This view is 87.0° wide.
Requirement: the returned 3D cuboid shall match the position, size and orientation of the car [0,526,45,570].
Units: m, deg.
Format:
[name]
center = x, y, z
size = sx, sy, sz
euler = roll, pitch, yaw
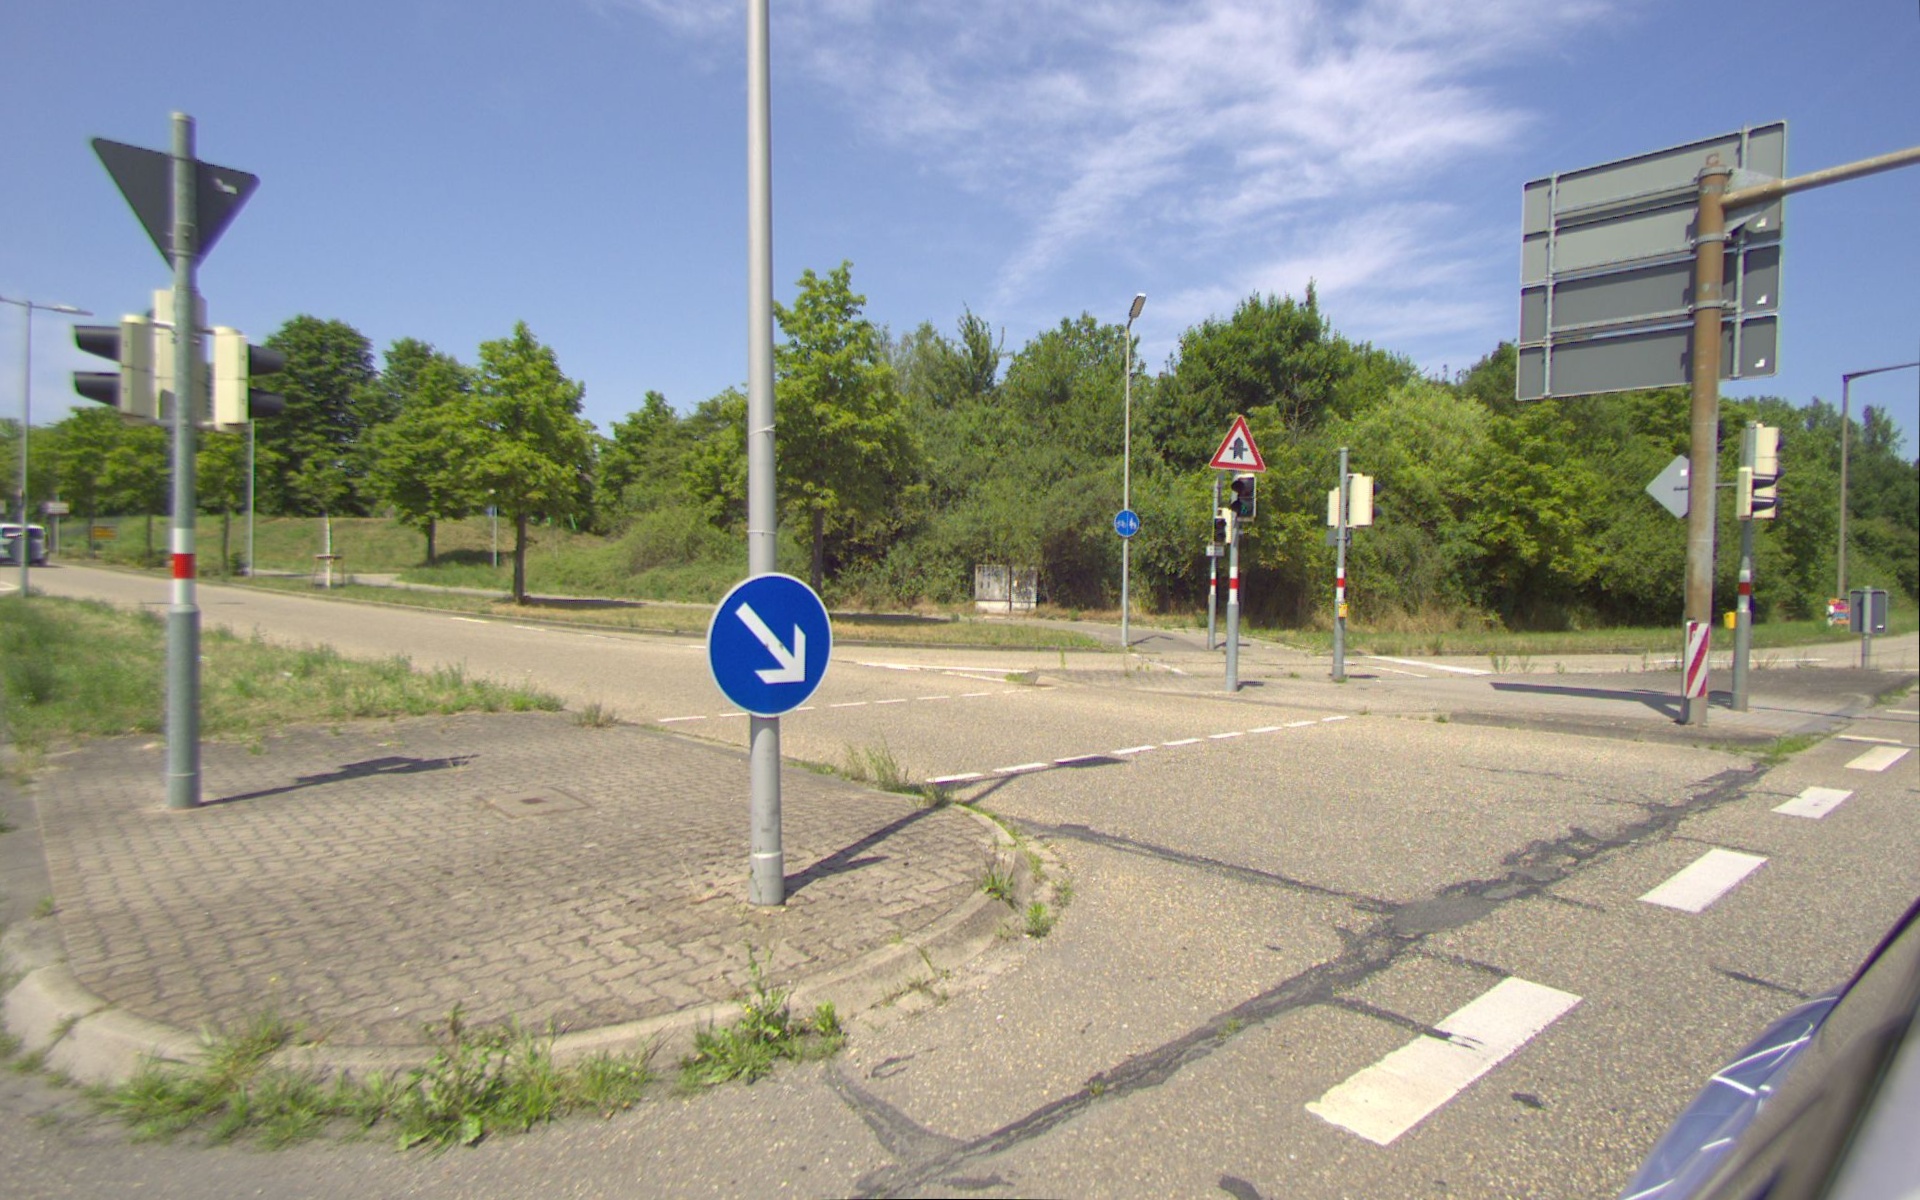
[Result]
[car]
center = -42.662, -2.367, 45.138
size = 4.881, 1.840, 1.842
euler = 4, 2, 36
